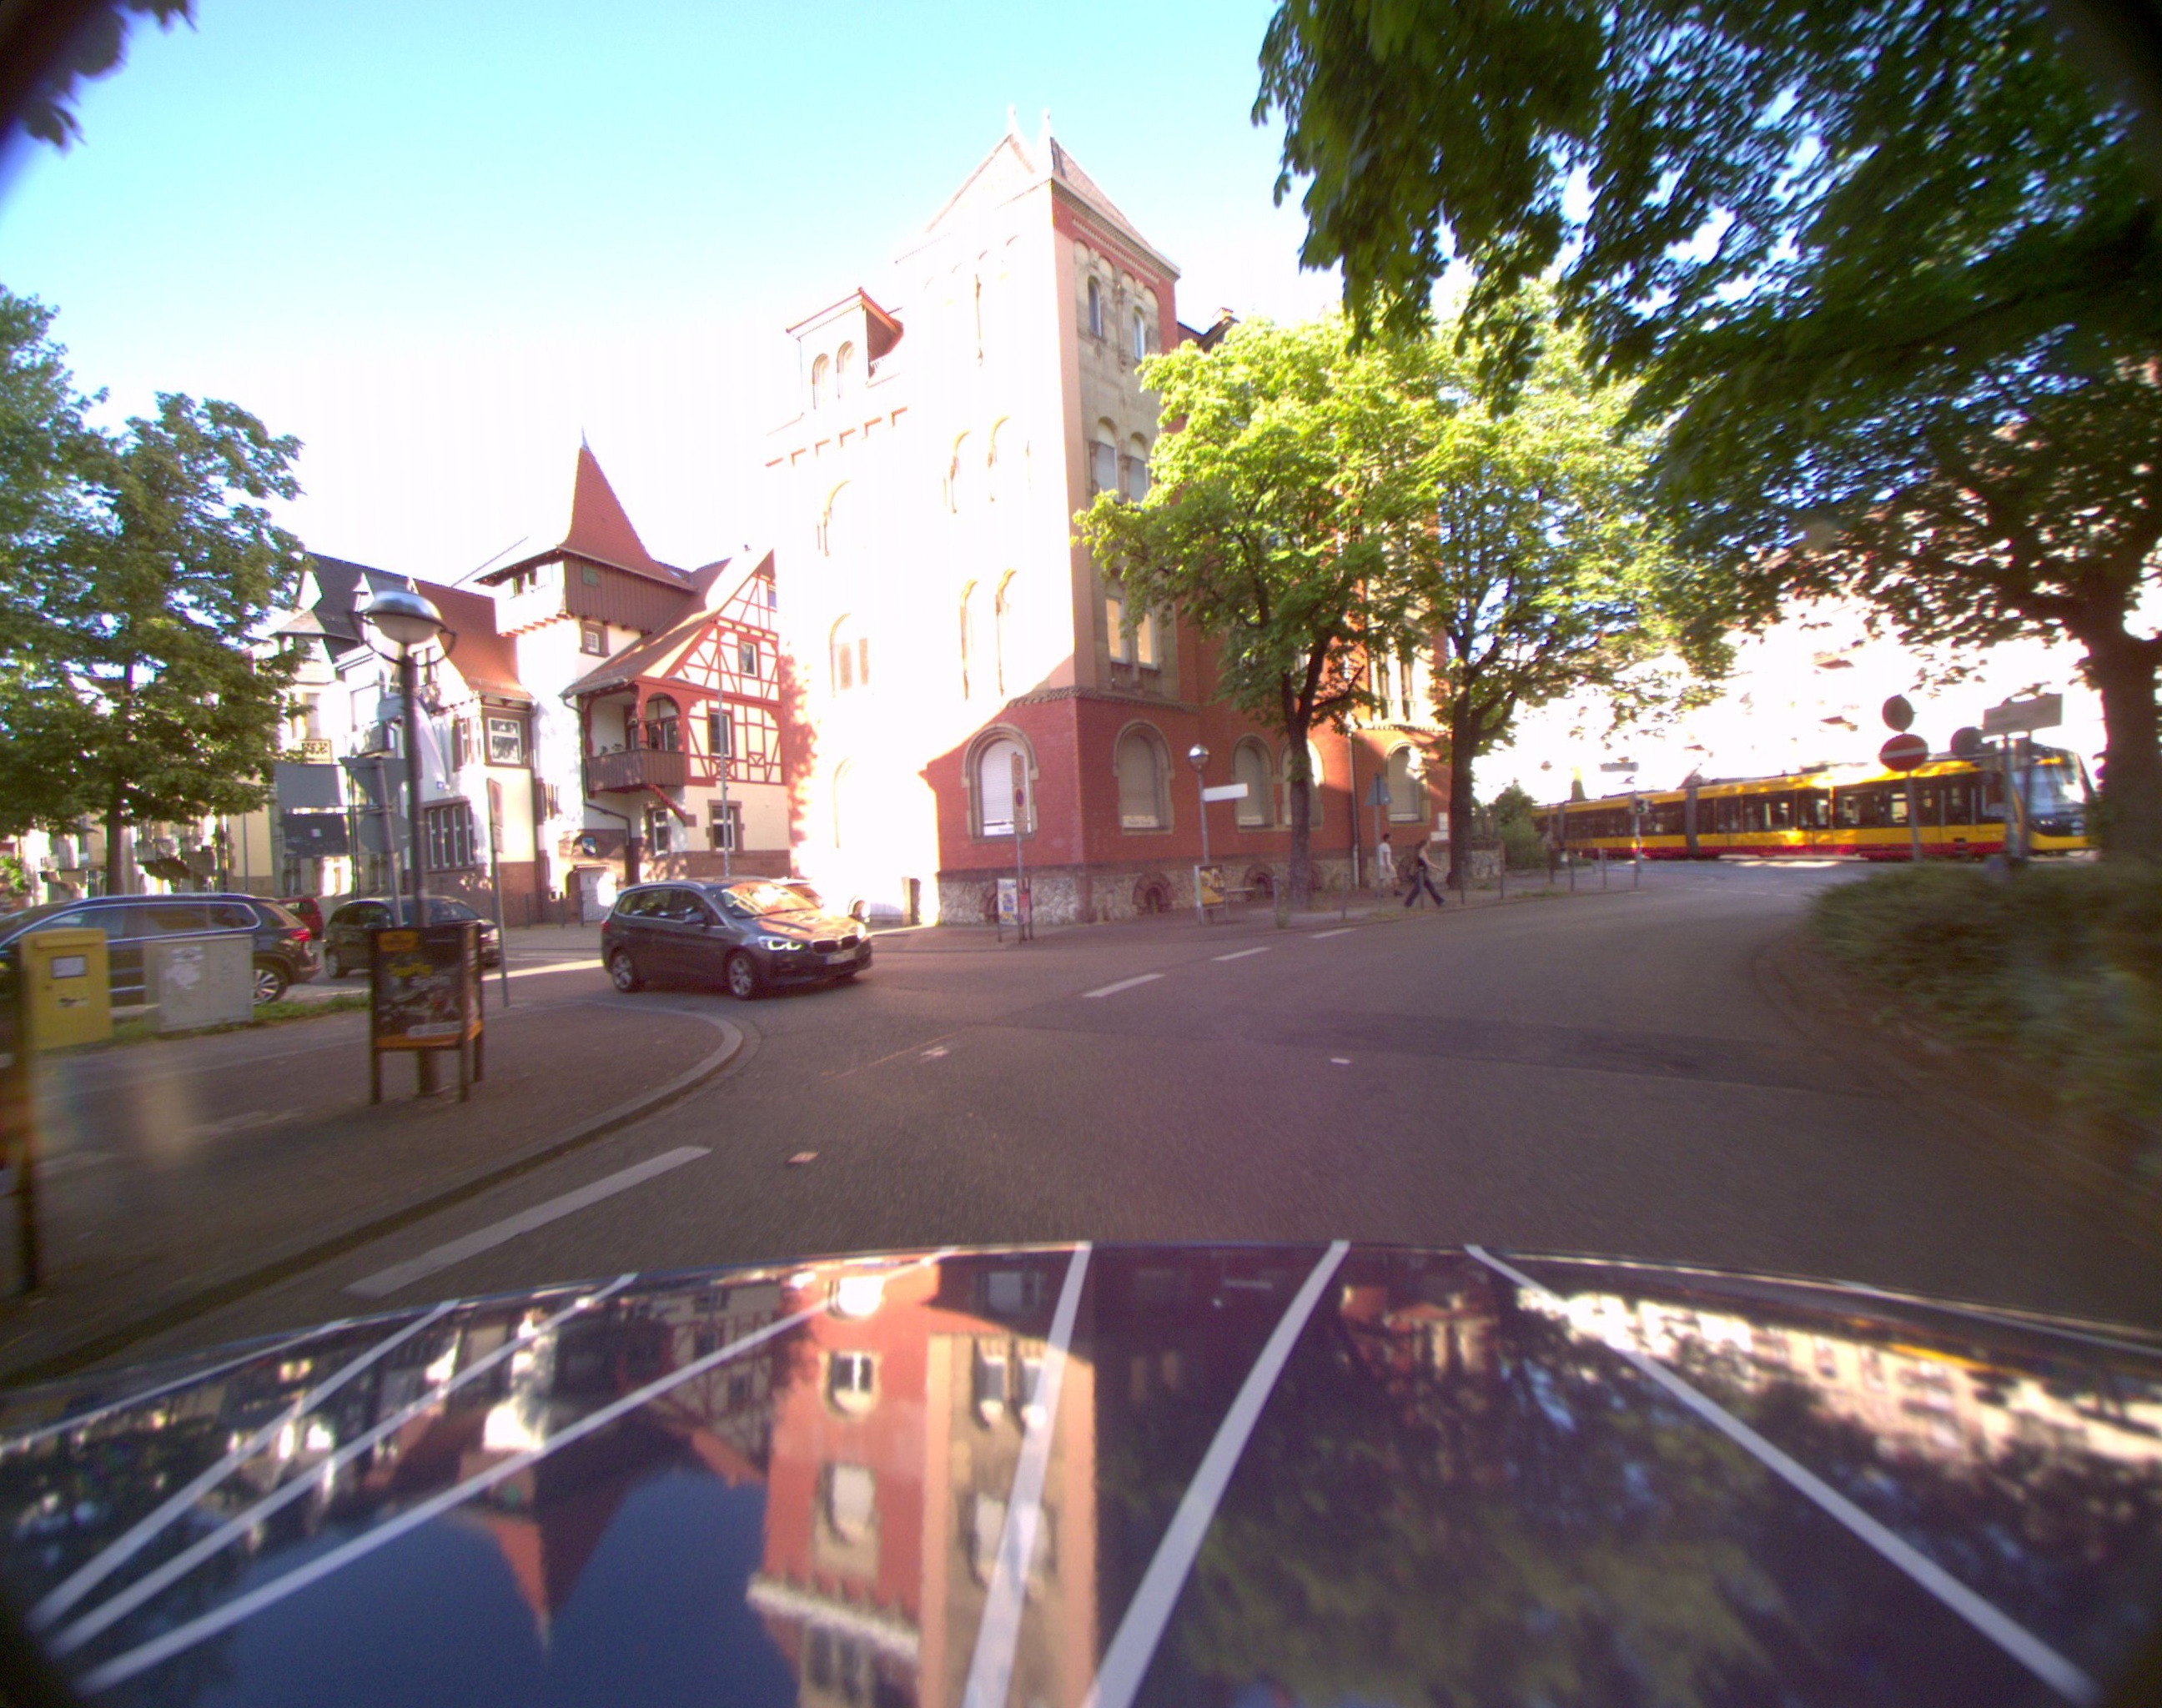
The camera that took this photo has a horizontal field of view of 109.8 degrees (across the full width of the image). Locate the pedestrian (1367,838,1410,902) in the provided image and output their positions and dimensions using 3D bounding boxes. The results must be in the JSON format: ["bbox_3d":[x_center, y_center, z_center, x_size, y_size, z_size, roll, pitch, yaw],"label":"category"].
[{"bbox_3d":[8.188,0.419,20.257,0.859,1.633,0.870,-3,0,12],"label":"pedestrian"}]

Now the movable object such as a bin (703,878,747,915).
[{"bbox_3d":[-13.553,1.601,28.965,0.685,1.310,1.386,-3,1,21],"label":"movable object such as a bin"}]

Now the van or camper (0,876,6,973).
[{"bbox_3d":[-33.424,1.971,19.001,2.459,3.059,7.111,-3,0,25],"label":"van or camper"}]

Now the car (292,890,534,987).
[{"bbox_3d":[-13.694,1.702,15.583,4.252,1.584,2.002,-4,2,24],"label":"car"}]

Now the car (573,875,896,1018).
[{"bbox_3d":[-5.052,1.213,10.928,4.505,1.597,1.929,-3,0,31],"label":"car"}]

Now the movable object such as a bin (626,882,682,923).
[{"bbox_3d":[-14.928,1.685,26.577,0.966,1.291,1.383,-3,1,37],"label":"movable object such as a bin"}]

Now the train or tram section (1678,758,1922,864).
[{"bbox_3d":[28.667,-1.538,30.979,2.918,3.593,7.863,-3,0,6],"label":"train or tram section"}]

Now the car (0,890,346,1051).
[{"bbox_3d":[-12.809,1.441,9.901,2.019,1.702,4.126,-4,-2,23],"label":"car"}]

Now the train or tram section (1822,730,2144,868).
[{"bbox_3d":[27.957,-1.515,24.148,2.919,3.619,6.350,-3,0,6],"label":"train or tram section"}]

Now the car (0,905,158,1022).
[{"bbox_3d":[-17.145,1.750,11.535,1.700,1.641,3.712,-3,0,31],"label":"car"}]

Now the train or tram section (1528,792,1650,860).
[{"bbox_3d":[30.186,-1.610,45.621,2.936,3.570,7.191,-4,1,6],"label":"train or tram section"}]

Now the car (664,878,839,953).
[{"bbox_3d":[-7.853,1.438,18.072,3.788,1.477,1.713,-3,2,28],"label":"car"}]

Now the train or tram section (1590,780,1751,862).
[{"bbox_3d":[29.429,-1.528,38.457,2.931,3.578,7.192,-4,0,6],"label":"train or tram section"}]

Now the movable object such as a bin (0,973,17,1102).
[{"bbox_3d":[-9.445,1.562,6.262,0.693,1.058,0.660,-3,0,28],"label":"movable object such as a bin"}]

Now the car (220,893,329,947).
[{"bbox_3d":[-32.964,2.680,31.038,4.314,1.896,1.807,-3,2,28],"label":"car"}]

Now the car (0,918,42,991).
[{"bbox_3d":[-24.132,2.181,15.273,1.674,1.496,3.608,-4,-2,28],"label":"car"}]

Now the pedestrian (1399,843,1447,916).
[{"bbox_3d":[7.797,0.575,17.347,0.853,1.595,0.602,-3,0,15],"label":"pedestrian"}]
